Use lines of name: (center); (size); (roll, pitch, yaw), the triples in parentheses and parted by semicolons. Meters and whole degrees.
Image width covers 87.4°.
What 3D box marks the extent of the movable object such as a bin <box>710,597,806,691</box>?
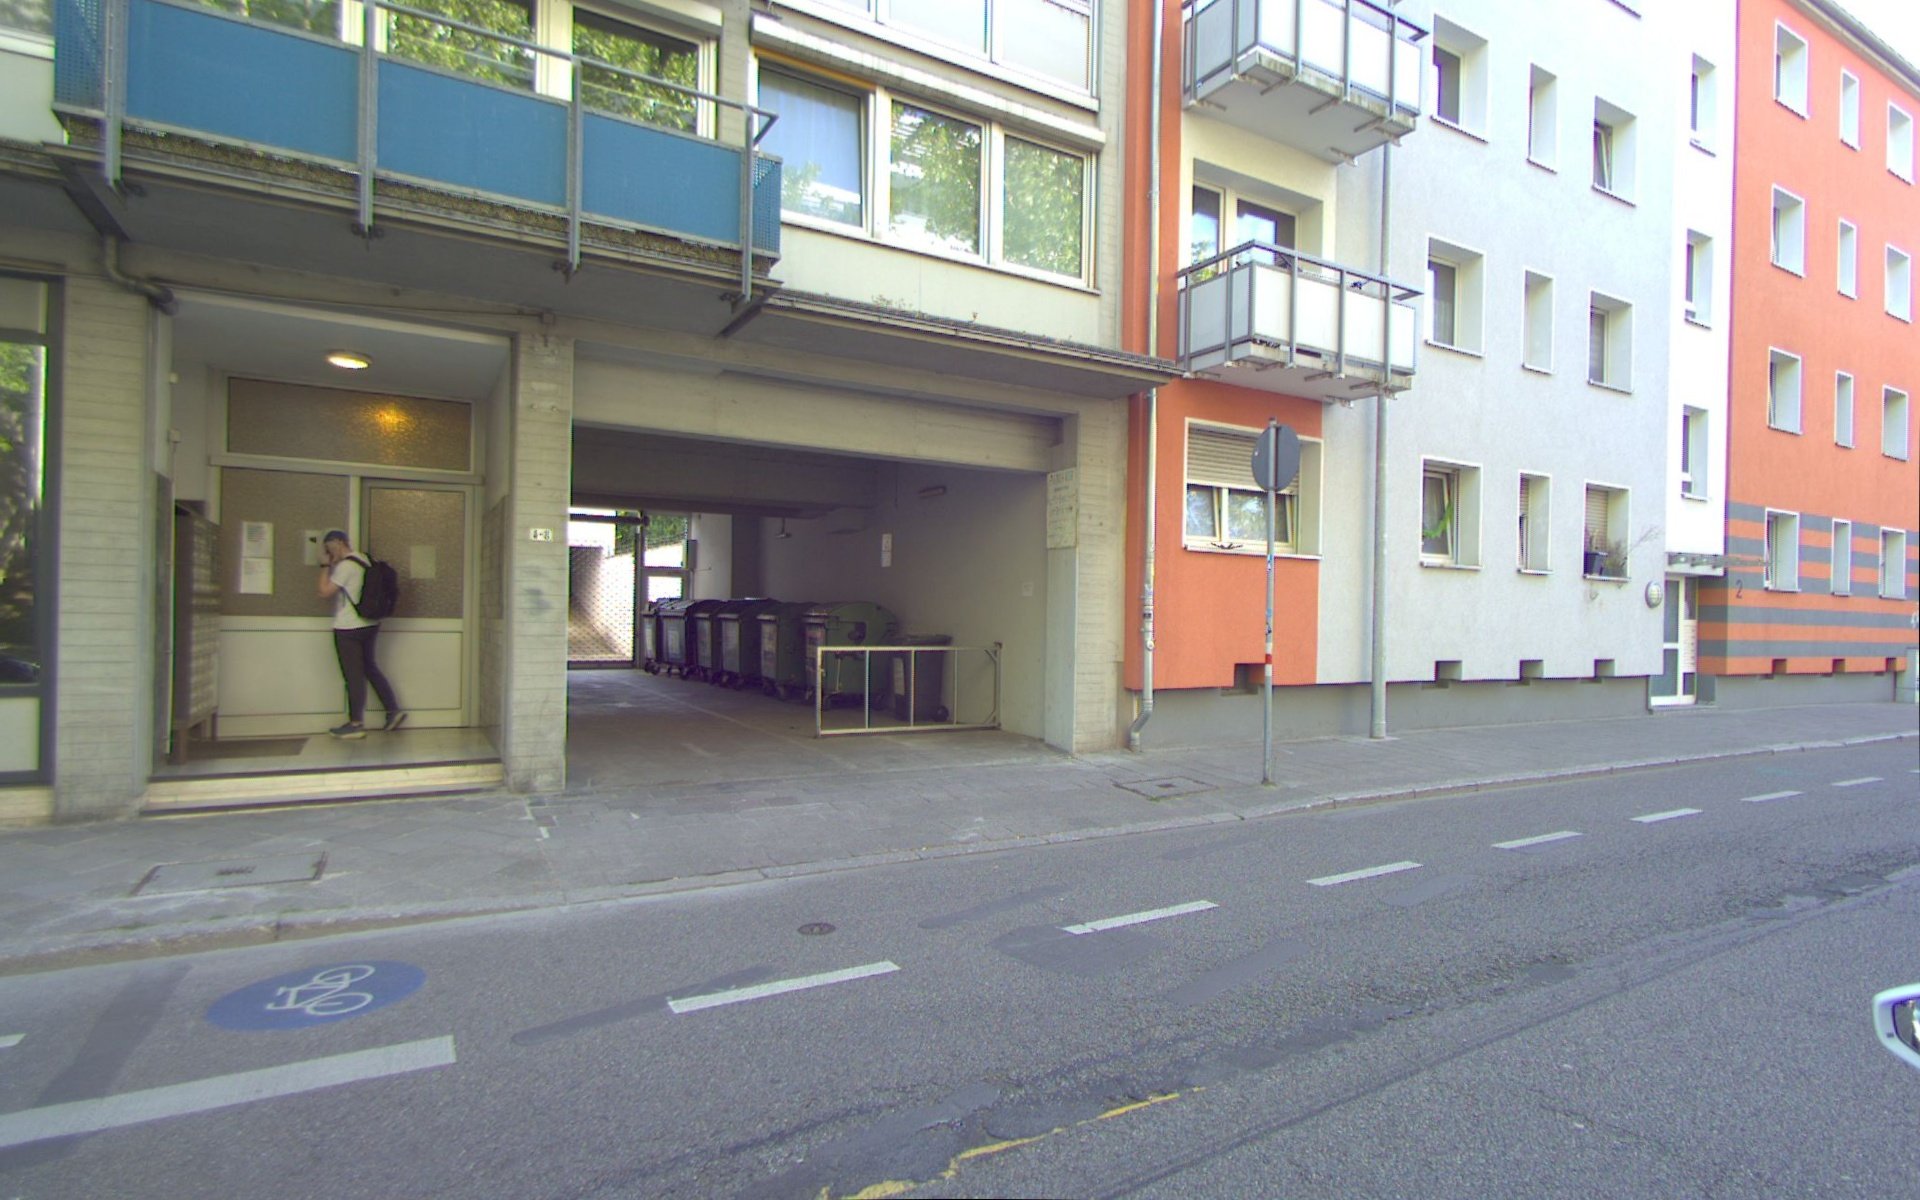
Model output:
movable object such as a bin: (-3.353, 0.708, 16.624); (1.186, 1.467, 1.319); (2, 0, -30)

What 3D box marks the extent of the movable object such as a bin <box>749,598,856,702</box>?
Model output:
movable object such as a bin: (-2.386, 0.730, 15.139); (1.186, 1.467, 1.319); (2, 0, -30)

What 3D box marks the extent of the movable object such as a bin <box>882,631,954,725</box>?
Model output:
movable object such as a bin: (-0.519, 0.948, 12.414); (0.745, 1.116, 0.463); (2, 0, -30)

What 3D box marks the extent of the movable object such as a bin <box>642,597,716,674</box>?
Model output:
movable object such as a bin: (-5.599, 0.696, 19.986); (1.186, 1.467, 1.027); (2, 0, -30)

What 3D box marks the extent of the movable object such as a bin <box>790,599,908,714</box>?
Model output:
movable object such as a bin: (-1.546, 0.748, 13.806); (1.159, 1.467, 1.319); (2, 0, -30)

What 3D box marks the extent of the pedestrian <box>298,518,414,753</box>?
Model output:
pedestrian: (-5.137, 0.294, 8.566); (0.778, 1.904, 0.577); (2, 0, -31)

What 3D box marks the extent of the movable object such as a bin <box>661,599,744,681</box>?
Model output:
movable object such as a bin: (-4.823, 0.731, 18.757); (1.186, 1.467, 1.222); (2, 0, -30)

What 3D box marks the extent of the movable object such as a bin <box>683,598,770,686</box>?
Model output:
movable object such as a bin: (-4.124, 0.729, 17.714); (1.186, 1.467, 1.114); (2, 0, -30)
